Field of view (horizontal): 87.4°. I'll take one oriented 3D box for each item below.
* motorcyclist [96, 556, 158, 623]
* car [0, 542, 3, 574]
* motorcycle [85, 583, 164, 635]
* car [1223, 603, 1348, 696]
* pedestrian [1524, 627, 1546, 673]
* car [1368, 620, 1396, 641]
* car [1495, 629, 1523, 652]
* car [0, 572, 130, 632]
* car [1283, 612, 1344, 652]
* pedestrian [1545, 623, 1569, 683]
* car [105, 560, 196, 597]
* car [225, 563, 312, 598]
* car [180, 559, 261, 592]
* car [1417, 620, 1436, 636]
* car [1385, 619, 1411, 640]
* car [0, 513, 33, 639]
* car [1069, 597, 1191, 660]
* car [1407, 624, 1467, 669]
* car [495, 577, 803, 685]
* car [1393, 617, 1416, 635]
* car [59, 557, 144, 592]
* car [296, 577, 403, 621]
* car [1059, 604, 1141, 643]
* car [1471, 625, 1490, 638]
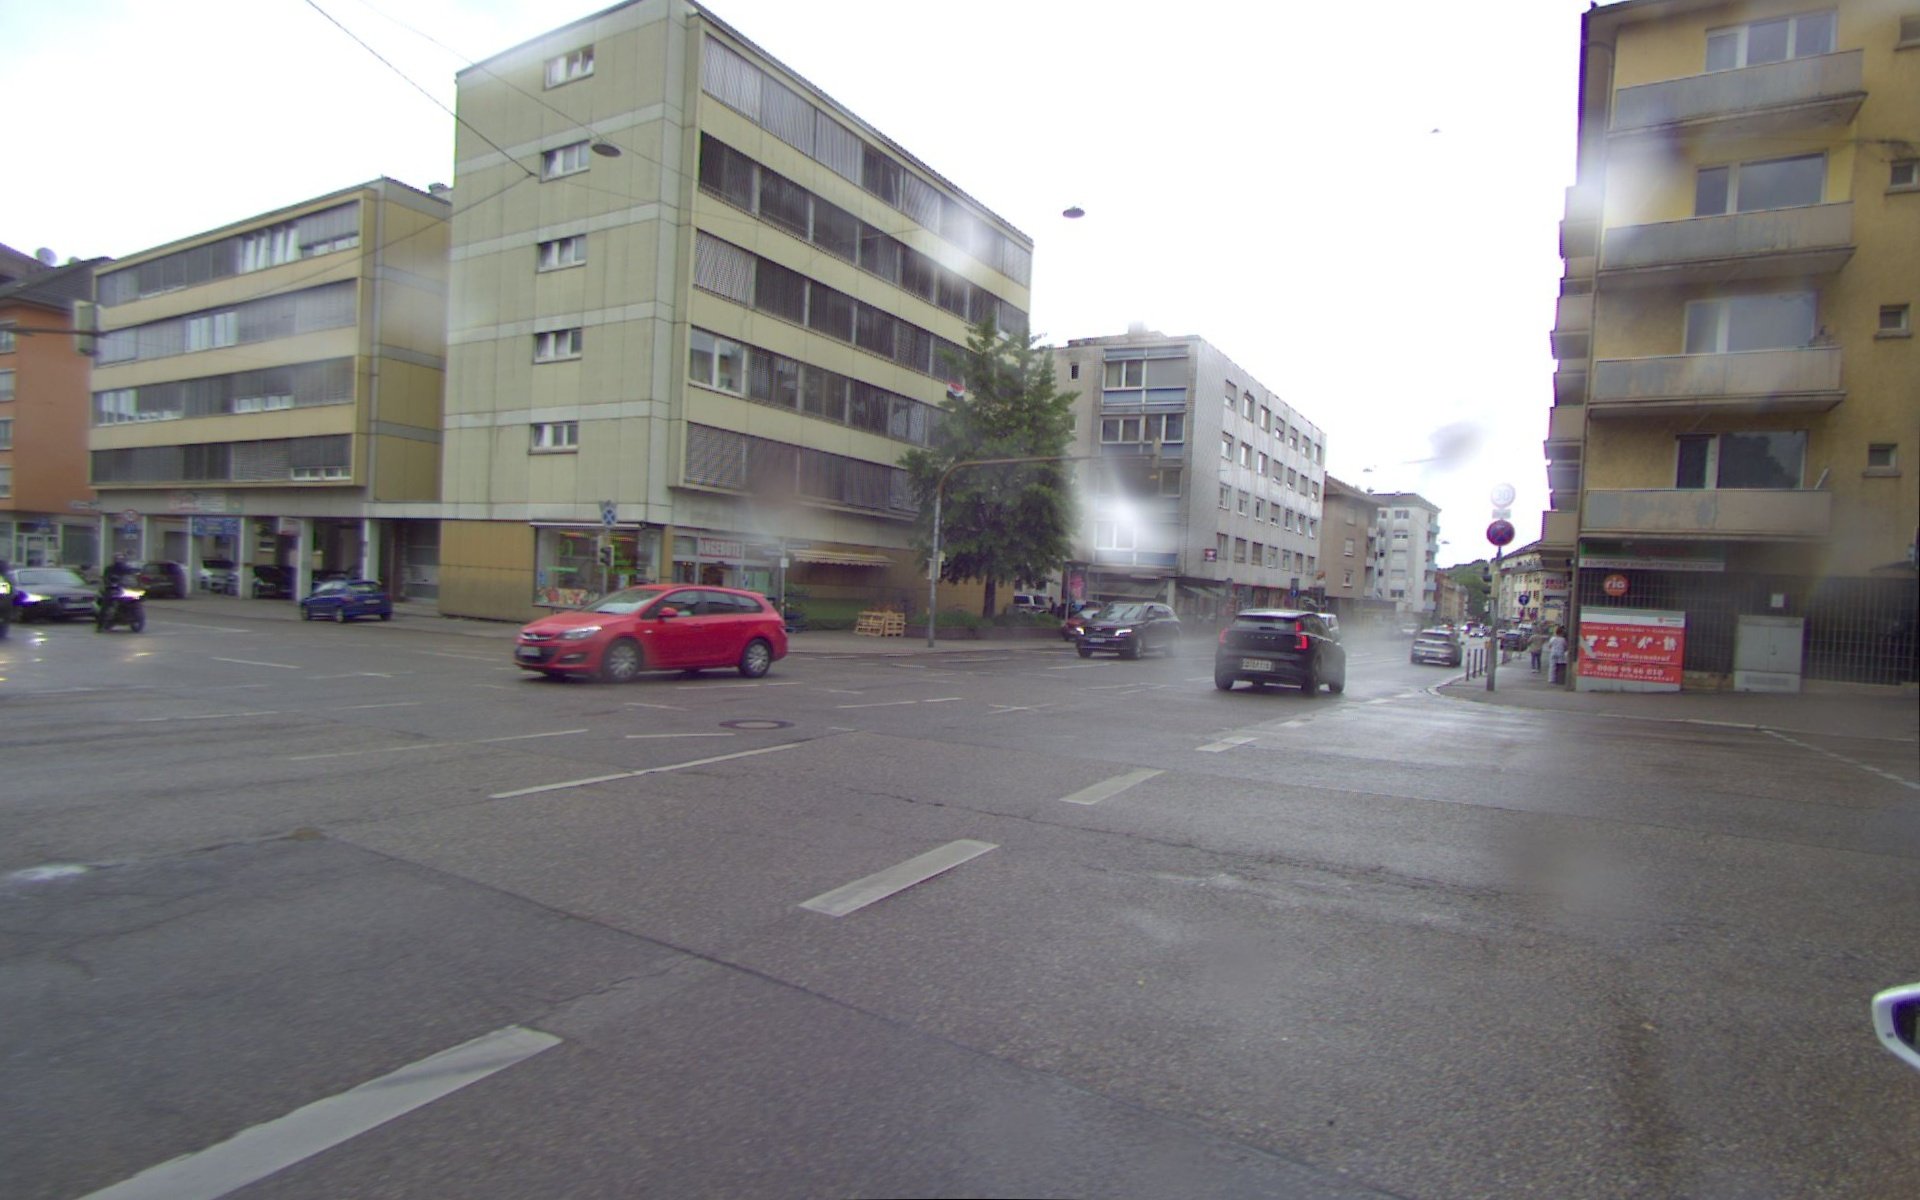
[{"bbox_3d":[-19.212,-0.237,23.165,0.782,1.499,0.877,2,0,32],"label":"motorcyclist"},{"bbox_3d":[-54.177,-2.389,53.440,4.297,1.731,1.844,4,1,-15],"label":"car"},{"bbox_3d":[-19.326,0.202,23.225,1.769,1.114,0.877,2,0,32],"label":"motorcycle"},{"bbox_3d":[6.393,0.892,19.440,1.766,1.530,3.997,2,0,25],"label":"car"},{"bbox_3d":[22.369,1.938,39.117,0.647,1.697,0.702,4,1,29],"label":"pedestrian"},{"bbox_3d":[38.497,2.777,91.609,1.955,1.880,4.225,2,-1,28],"label":"car"},{"bbox_3d":[46.578,3.398,85.195,1.955,1.725,4.563,4,0,29],"label":"car"},{"bbox_3d":[-23.446,0.002,26.126,3.507,1.438,1.845,2,3,32],"label":"car"},{"bbox_3d":[18.174,1.635,51.553,1.957,1.880,4.219,2,-1,33],"label":"car"},{"bbox_3d":[17.365,1.538,29.227,0.491,1.697,0.556,3,1,29],"label":"pedestrian"},{"bbox_3d":[-36.008,-0.991,44.656,4.293,1.588,1.845,2,3,33],"label":"car"},{"bbox_3d":[-33.006,-0.980,47.920,4.293,1.588,1.845,2,3,32],"label":"car"},{"bbox_3d":[-37.495,-1.261,50.897,4.293,1.588,1.845,2,3,32],"label":"car"},{"bbox_3d":[58.074,3.442,124.957,1.955,1.880,4.225,2,-1,28],"label":"car"},{"bbox_3d":[42.147,2.847,96.642,1.955,1.880,4.225,2,-1,28],"label":"car"},{"bbox_3d":[-22.164,-0.533,21.394,5.376,2.558,2.227,2,2,33],"label":"car"},{"bbox_3d":[5.246,0.855,30.476,1.957,1.725,4.559,2,-1,33],"label":"car"},{"bbox_3d":[20.539,1.947,43.141,1.955,1.725,4.563,4,0,29],"label":"car"},{"bbox_3d":[-4.682,0.466,15.815,1.679,1.442,4.570,2,-1,34],"label":"car"},{"bbox_3d":[48.632,2.880,109.917,1.955,1.880,4.225,2,-1,28],"label":"car"},{"bbox_3d":[-40.502,-1.238,47.378,4.293,1.588,1.845,2,3,33],"label":"car"},{"bbox_3d":[-21.451,-0.078,35.303,3.507,1.438,1.845,2,3,32],"label":"car"},{"bbox_3d":[5.914,0.996,42.156,1.697,1.446,3.878,4,1,36],"label":"car"},{"bbox_3d":[78.127,4.750,150.765,2.098,1.880,4.221,2,-1,32],"label":"car"}]
